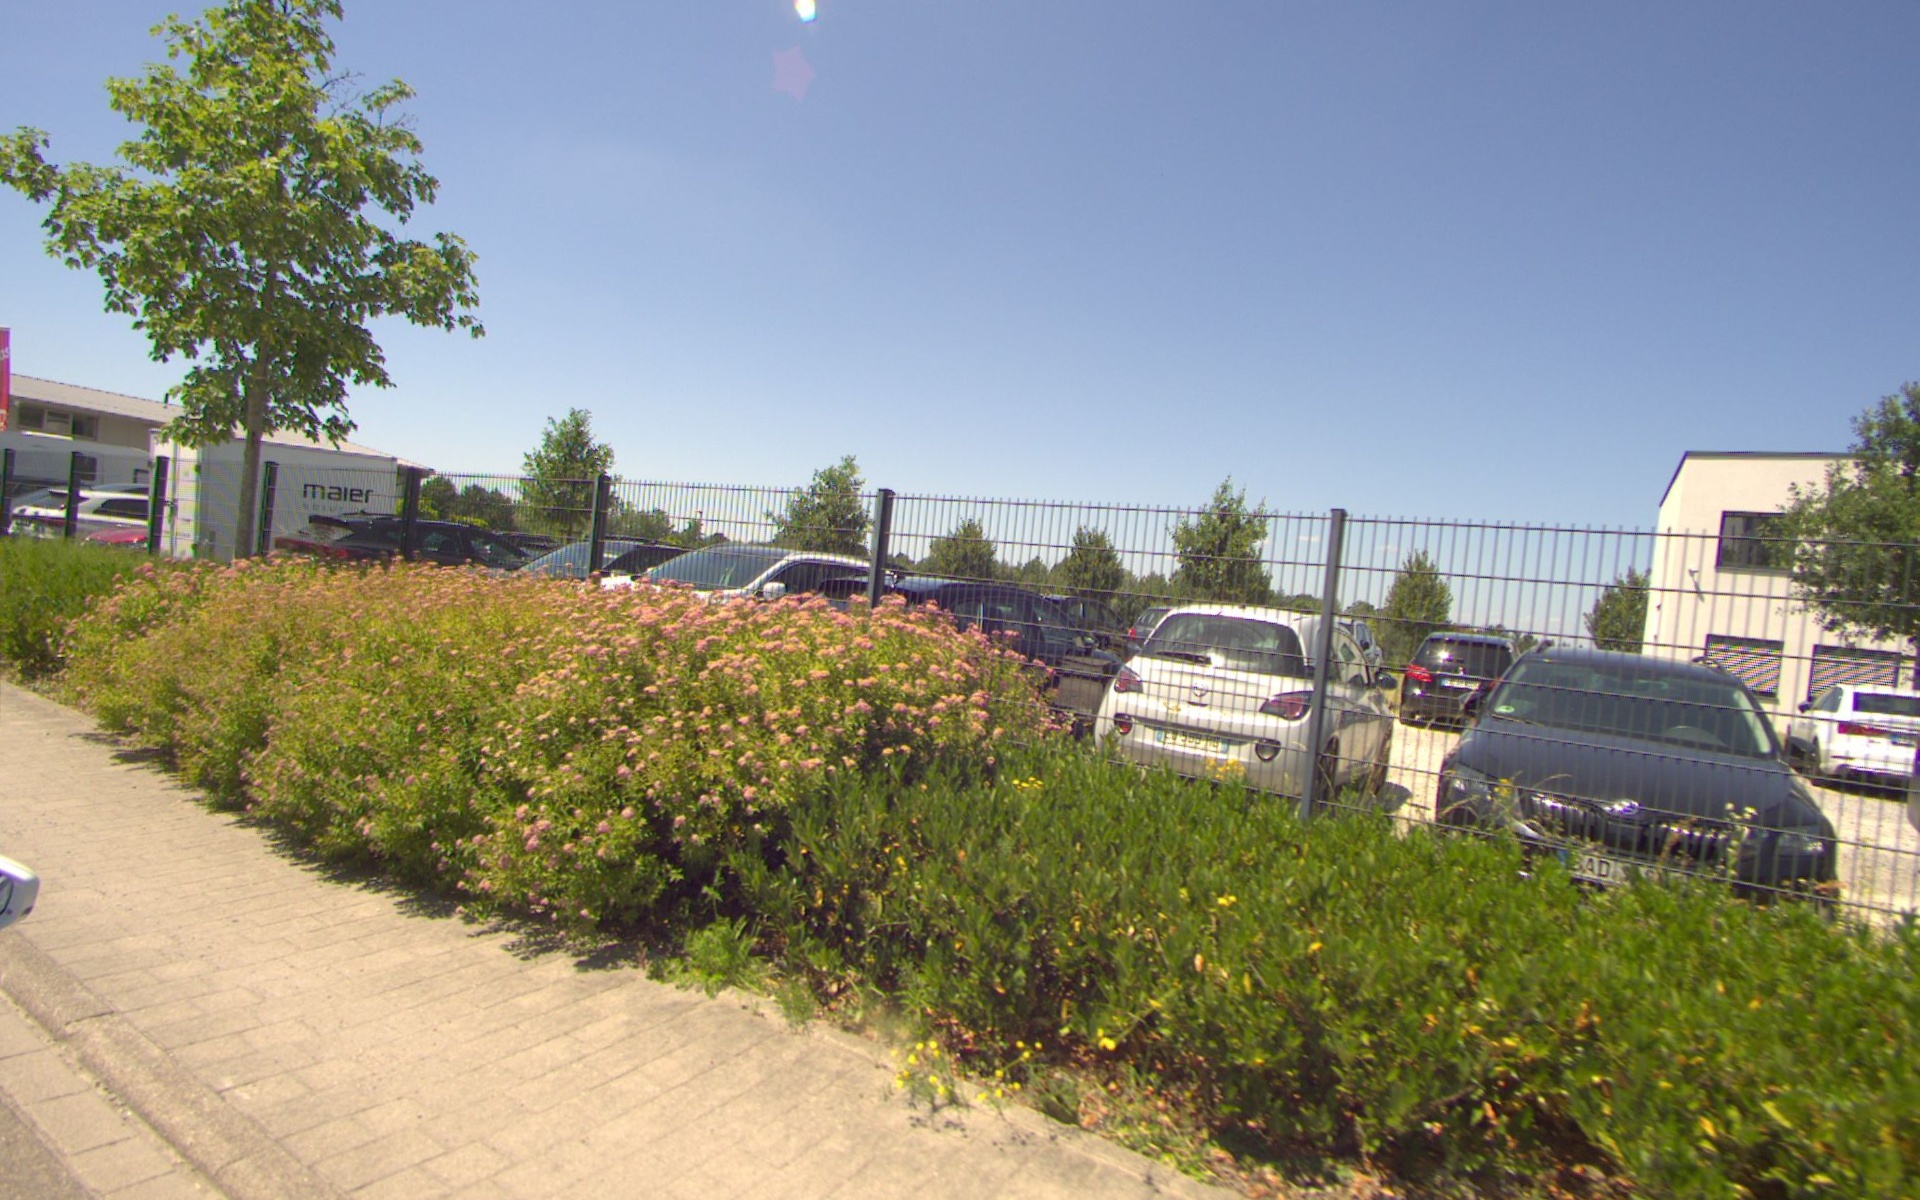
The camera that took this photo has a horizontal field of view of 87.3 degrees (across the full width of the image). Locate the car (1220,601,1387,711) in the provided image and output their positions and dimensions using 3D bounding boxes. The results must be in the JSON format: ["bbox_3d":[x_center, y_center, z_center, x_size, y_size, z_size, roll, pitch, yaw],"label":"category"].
[{"bbox_3d":[6.277,0.972,18.082,1.886,1.572,4.044,7,1,31],"label":"car"}]

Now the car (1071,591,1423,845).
[{"bbox_3d":[2.701,0.831,8.650,1.726,1.463,4.281,7,1,31],"label":"car"}]

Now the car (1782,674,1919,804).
[{"bbox_3d":[12.793,1.870,13.899,1.739,1.421,3.873,7,1,34],"label":"car"}]

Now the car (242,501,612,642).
[{"bbox_3d":[-7.114,-0.305,13.843,1.886,1.523,4.044,7,1,31],"label":"car"}]

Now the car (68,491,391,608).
[{"bbox_3d":[-11.897,-0.761,16.643,1.776,1.495,3.893,7,1,31],"label":"car"}]

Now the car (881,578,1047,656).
[{"bbox_3d":[0.193,0.421,22.039,1.695,1.406,4.044,7,1,31],"label":"car"}]

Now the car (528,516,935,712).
[{"bbox_3d":[-2.145,0.180,10.524,1.792,1.541,3.990,7,1,31],"label":"car"}]

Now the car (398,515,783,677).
[{"bbox_3d":[-4.174,0.013,12.021,1.714,1.510,4.044,7,1,31],"label":"car"}]

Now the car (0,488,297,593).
[{"bbox_3d":[-14.325,-0.997,17.852,1.775,1.459,3.843,6,2,28],"label":"car"}]

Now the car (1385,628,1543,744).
[{"bbox_3d":[8.521,1.366,16.838,1.739,1.522,3.873,7,1,34],"label":"car"}]

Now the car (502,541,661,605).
[{"bbox_3d":[-10.861,-0.731,29.161,1.719,1.450,4.044,7,1,31],"label":"car"}]

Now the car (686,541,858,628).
[{"bbox_3d":[-4.600,-0.343,25.138,1.886,1.786,4.044,7,1,31],"label":"car"}]

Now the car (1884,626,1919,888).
[{"bbox_3d":[6.922,1.149,5.290,1.871,1.898,5.116,7,2,31],"label":"car"}]

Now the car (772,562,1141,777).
[{"bbox_3d":[0.176,0.579,9.255,1.617,1.440,3.668,7,1,31],"label":"car"}]

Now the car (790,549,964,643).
[{"bbox_3d":[-1.823,-0.033,23.339,1.886,1.823,4.044,7,1,31],"label":"car"}]

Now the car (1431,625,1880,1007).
[{"bbox_3d":[4.248,1.015,6.532,1.576,1.468,4.347,7,1,31],"label":"car"}]

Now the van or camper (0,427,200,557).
[{"bbox_3d":[-22.712,-2.722,23.952,2.592,2.618,6.763,7,1,31],"label":"van or camper"}]

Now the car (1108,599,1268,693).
[{"bbox_3d":[4.551,0.889,19.630,1.747,1.467,4.044,7,1,31],"label":"car"}]

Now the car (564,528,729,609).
[{"bbox_3d":[-8.615,-0.821,27.950,1.886,1.830,4.044,7,1,31],"label":"car"}]

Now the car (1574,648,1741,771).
[{"bbox_3d":[10.576,1.569,15.364,1.739,1.421,3.873,7,1,34],"label":"car"}]

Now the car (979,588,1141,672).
[{"bbox_3d":[2.156,0.634,20.686,1.695,1.406,3.908,7,1,31],"label":"car"}]

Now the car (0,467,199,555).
[{"bbox_3d":[-19.867,-1.998,22.491,1.778,1.557,4.138,7,2,31],"label":"car"}]

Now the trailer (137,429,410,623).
[{"bbox_3d":[-9.794,-0.975,14.517,1.395,2.435,2.825,7,2,28],"label":"trailer"}]
